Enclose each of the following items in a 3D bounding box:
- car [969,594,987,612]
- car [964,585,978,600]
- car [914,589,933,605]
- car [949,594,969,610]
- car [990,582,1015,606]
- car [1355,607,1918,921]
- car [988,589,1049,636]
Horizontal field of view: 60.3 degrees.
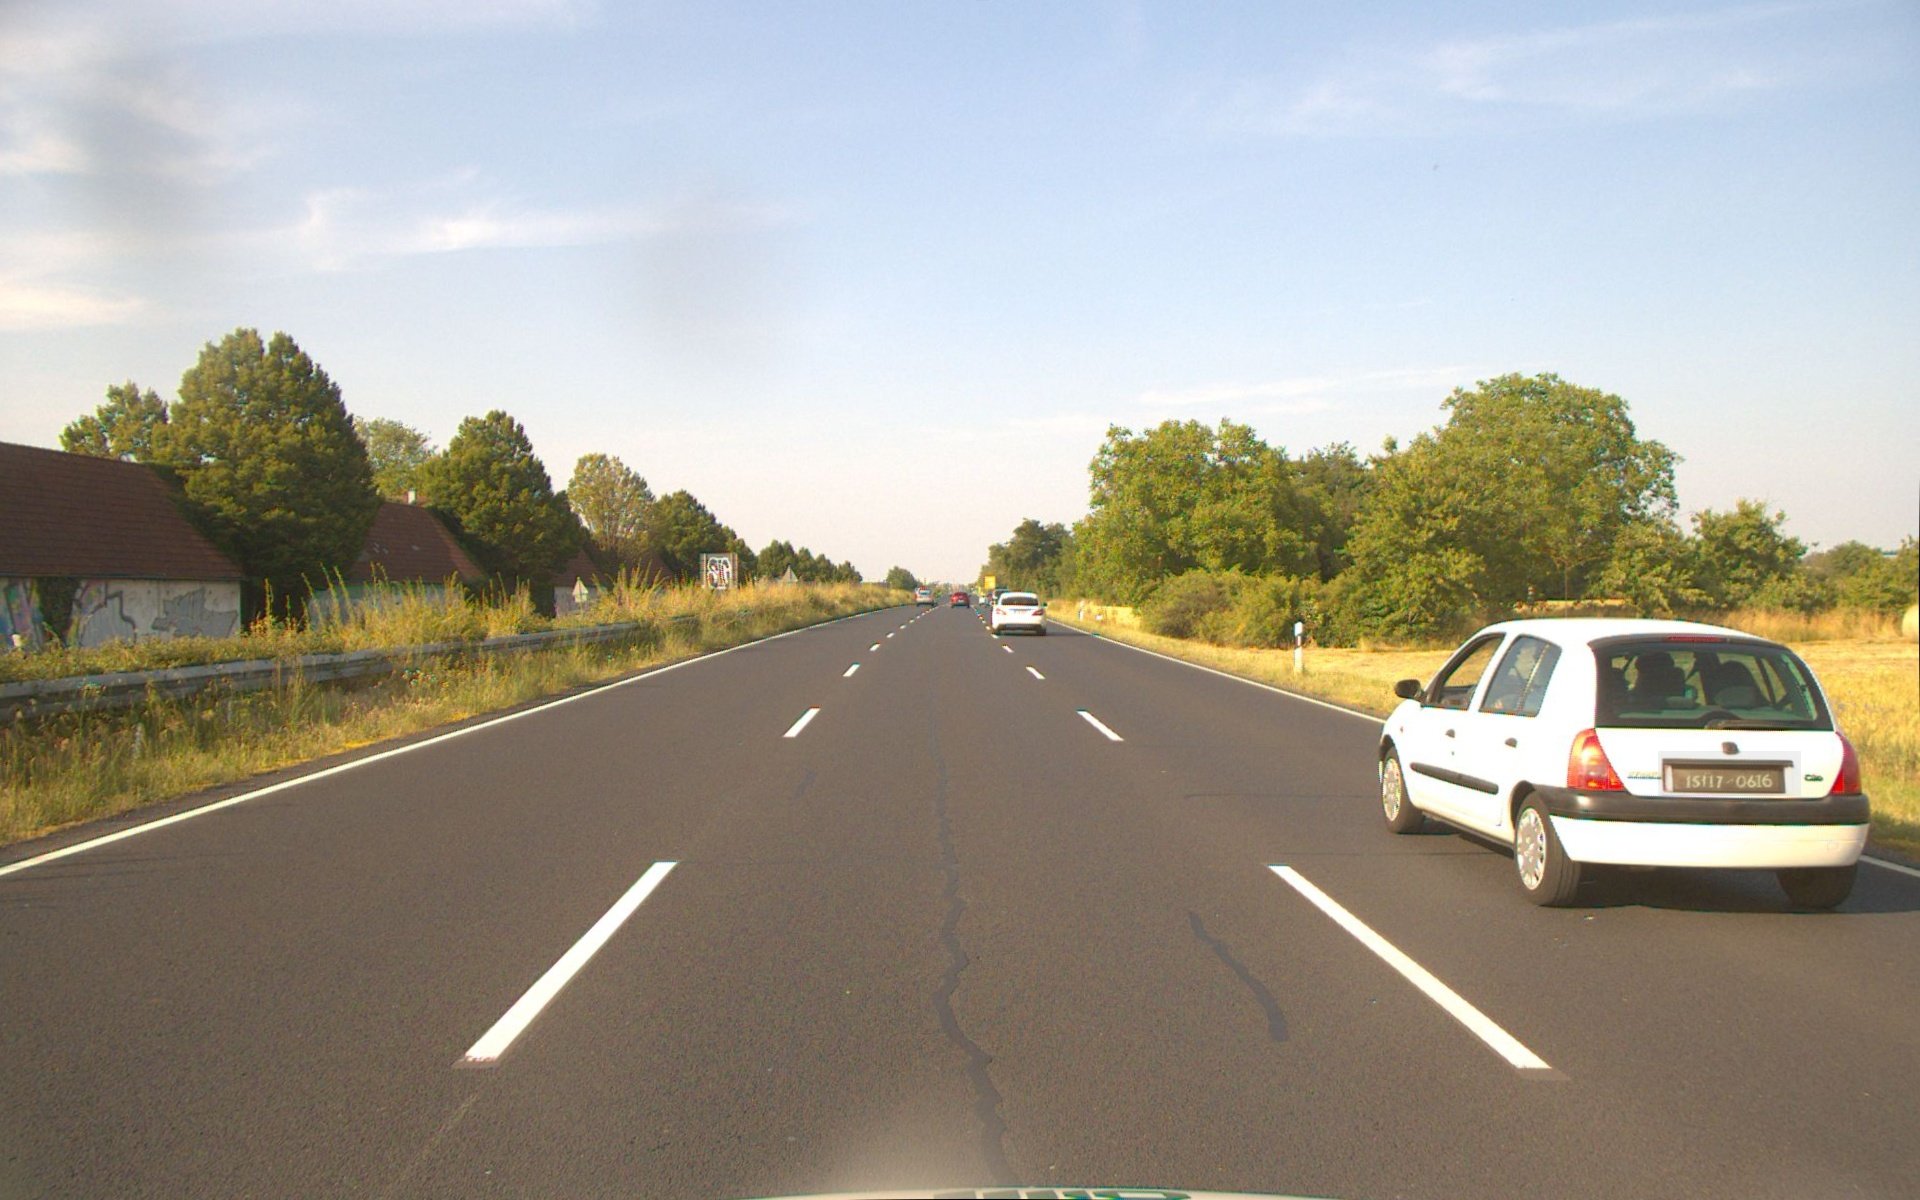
[{"bbox_3d":[1.803,0.307,165.088,1.796,1.747,3.862,1,-1,0],"label":"car"},{"bbox_3d":[1.469,-1.048,223.991,1.766,1.937,3.560,1,-1,1],"label":"car"},{"bbox_3d":[-3.828,-0.317,173.452,1.722,1.646,4.001,1,-1,2],"label":"car"},{"bbox_3d":[-0.105,0.221,152.889,1.775,1.461,3.857,1,-1,-1],"label":"car"},{"bbox_3d":[3.264,-0.447,127.618,1.790,1.758,3.999,1,-1,0],"label":"car"},{"bbox_3d":[3.560,0.766,9.511,1.584,1.411,3.950,1,-1,-1],"label":"car"},{"bbox_3d":[1.996,0.450,57.196,1.953,1.543,3.999,1,-1,0],"label":"car"}]
